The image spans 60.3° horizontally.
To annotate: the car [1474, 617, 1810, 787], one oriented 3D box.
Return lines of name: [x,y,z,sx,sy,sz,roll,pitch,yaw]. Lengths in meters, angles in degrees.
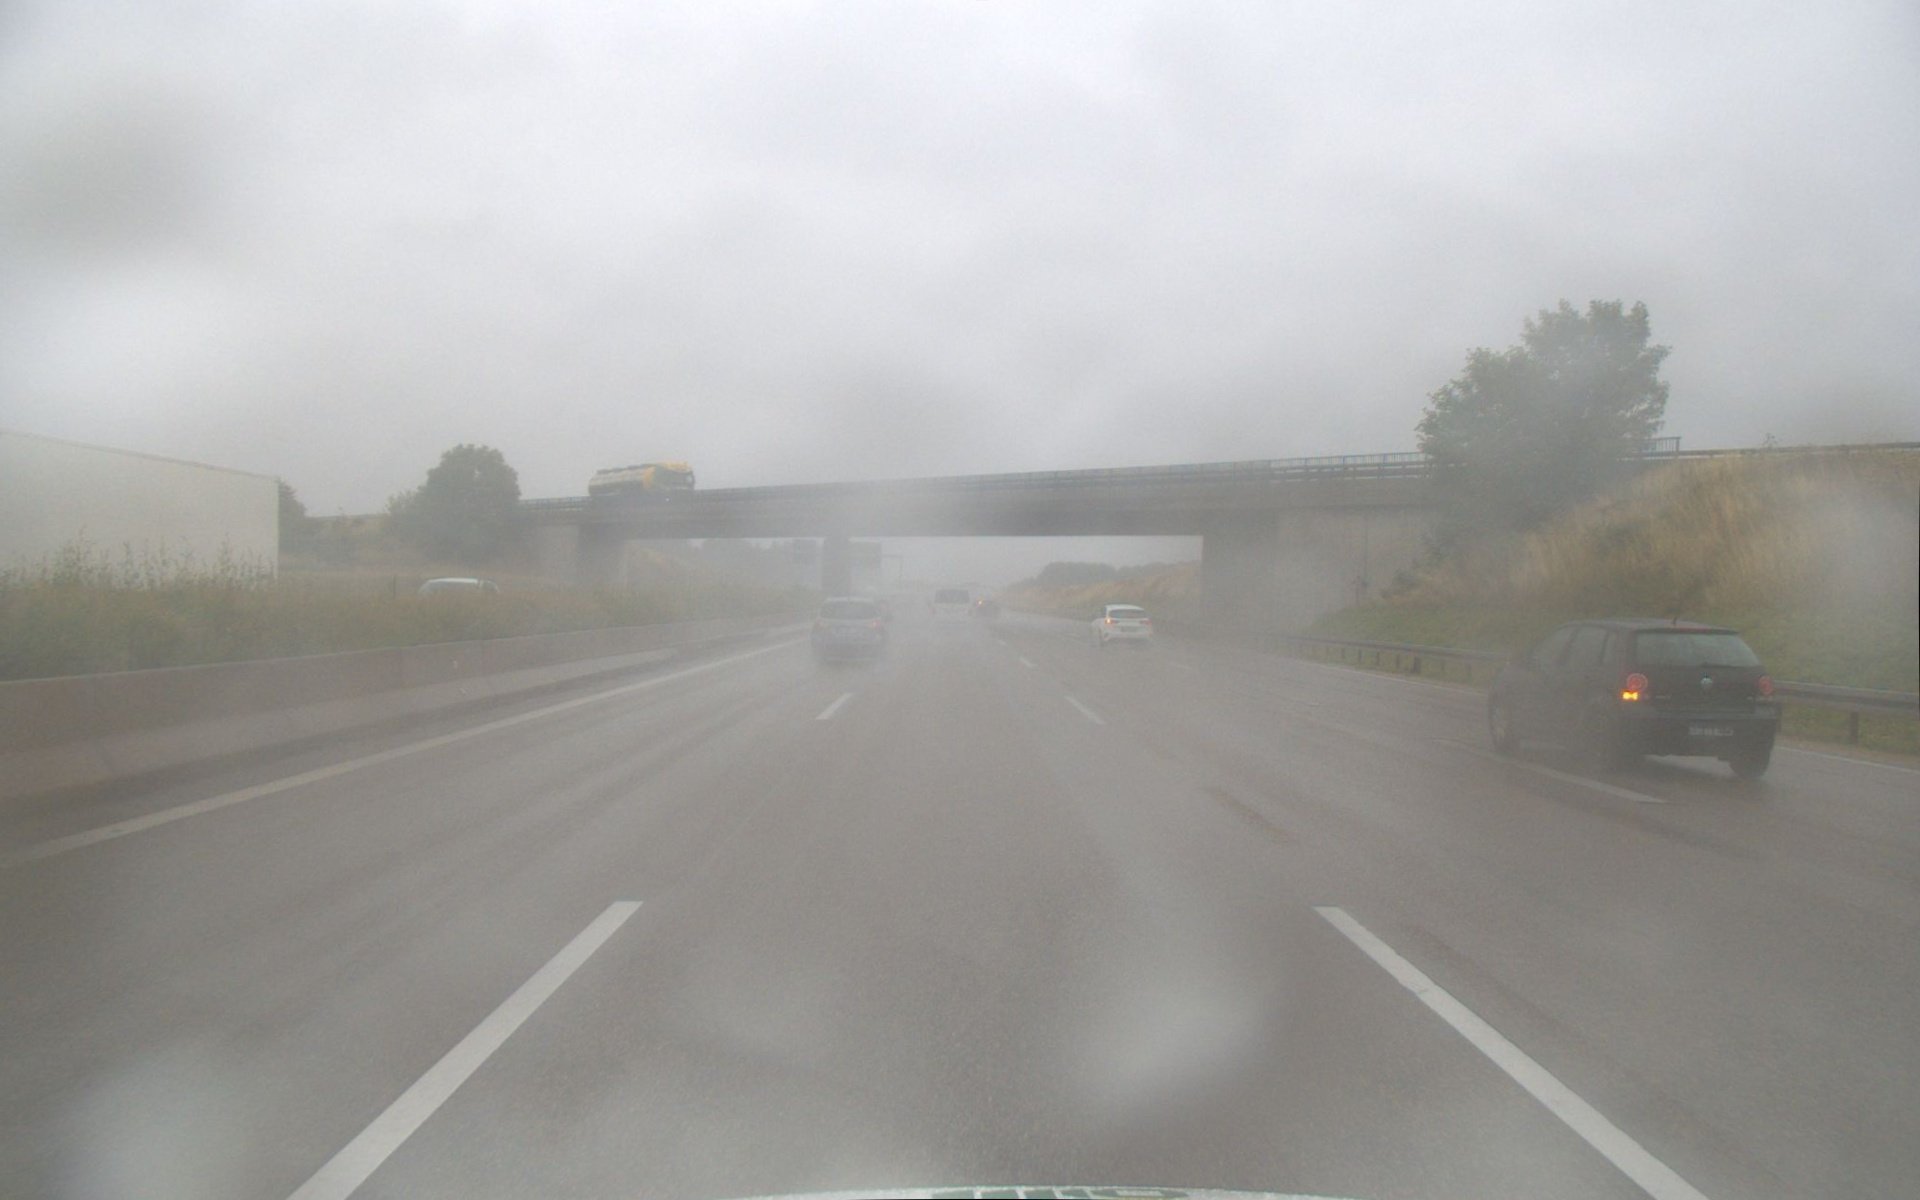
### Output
car: [6.653,0.934,16.576,1.697,1.446,3.656,1,0,-3]

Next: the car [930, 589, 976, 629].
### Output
car: [-0.291,0.394,70.820,1.858,1.613,3.999,1,-1,0]

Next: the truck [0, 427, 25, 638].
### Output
truck: [-18.465,-1.242,28.439,1.953,3.847,4.813,1,0,0]

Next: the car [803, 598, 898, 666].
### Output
car: [-2.569,0.738,39.905,1.808,1.540,4.757,1,0,2]

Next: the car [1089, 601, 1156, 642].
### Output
car: [5.483,0.735,56.183,1.952,1.288,4.000,1,-1,1]

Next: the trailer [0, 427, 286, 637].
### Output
trailer: [-18.538,-1.255,36.205,1.953,3.831,13.857,1,0,-1]
